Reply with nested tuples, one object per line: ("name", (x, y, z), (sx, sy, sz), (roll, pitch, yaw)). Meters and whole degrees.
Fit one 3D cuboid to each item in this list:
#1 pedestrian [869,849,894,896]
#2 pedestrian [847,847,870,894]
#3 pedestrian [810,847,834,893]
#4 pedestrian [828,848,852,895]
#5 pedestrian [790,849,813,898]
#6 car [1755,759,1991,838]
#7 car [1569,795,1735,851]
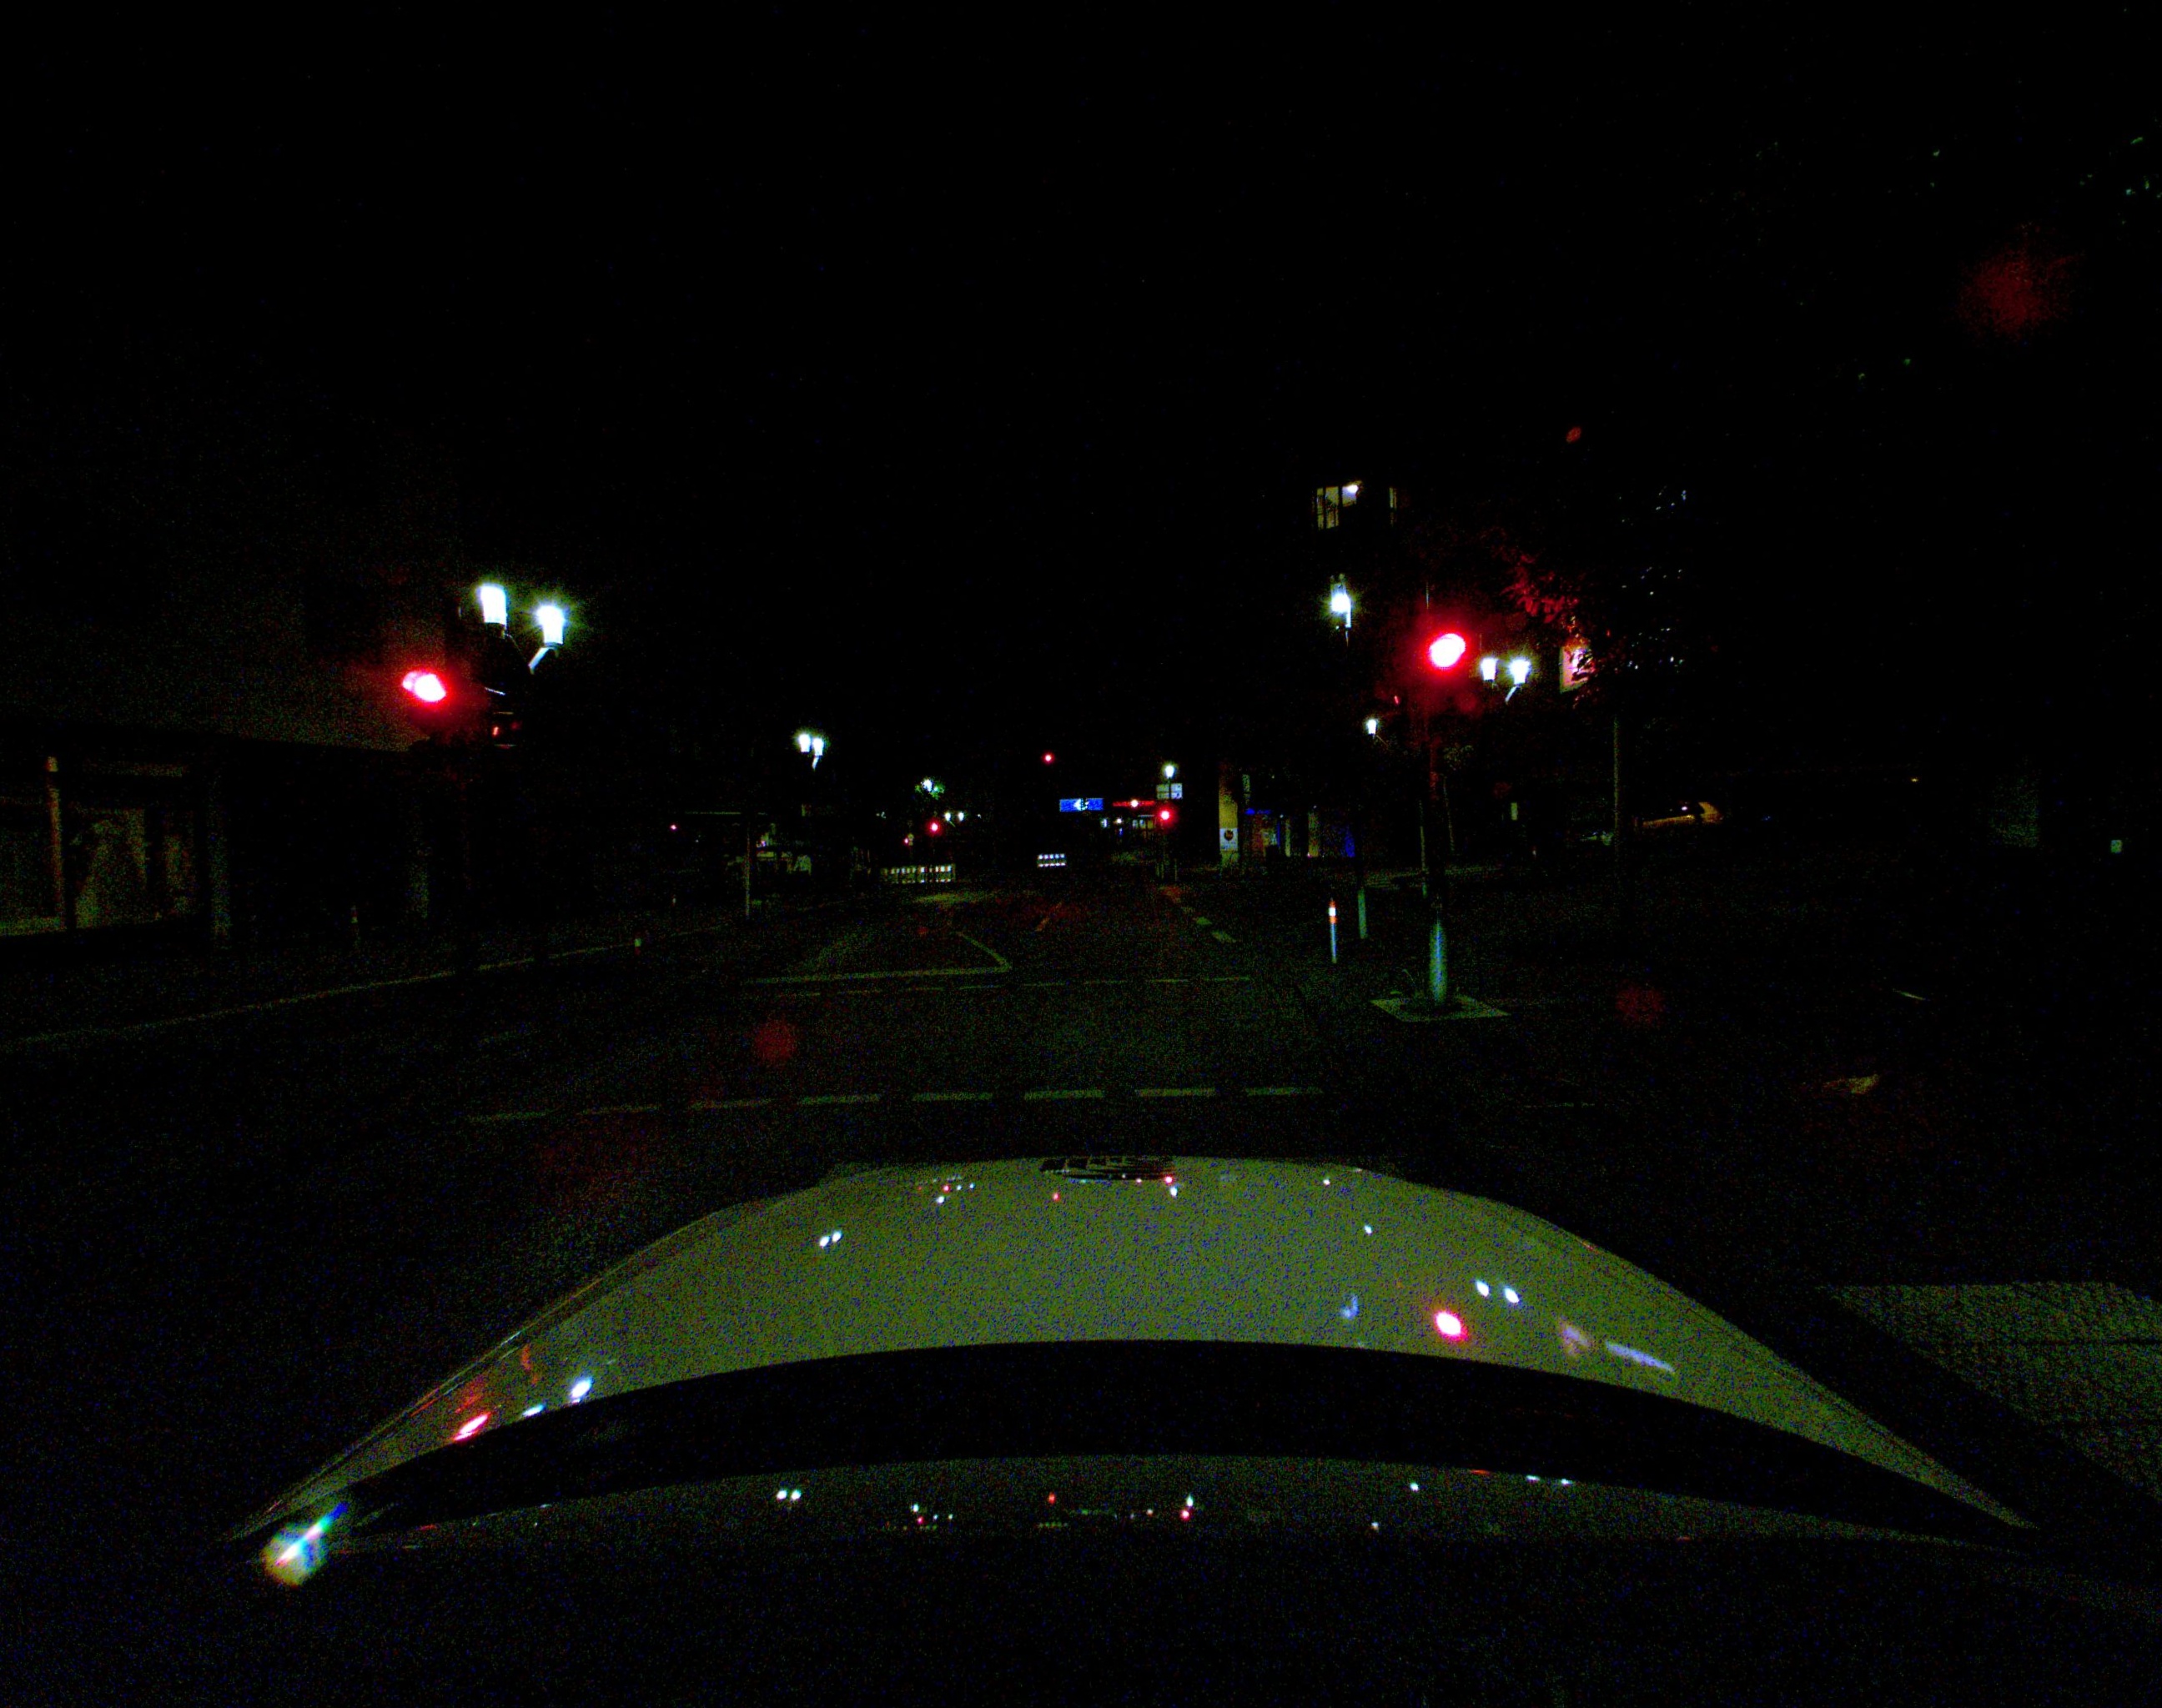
("pedestrian", (-7.786, 0.715, 31.809), (0.712, 1.795, 0.738), (-1, -2, 7))
("pedestrian", (-8.688, 0.654, 31.826), (0.712, 1.795, 0.571), (-1, -2, 8))
("pedestrian", (-10.400, 0.646, 32.693), (0.712, 1.795, 0.571), (-1, -2, 8))
("pedestrian", (-9.324, 0.661, 31.515), (0.712, 1.795, 0.571), (-1, -2, 8))
("pedestrian", (-10.302, 0.721, 30.035), (0.716, 1.795, 0.567), (0, -2, -11))
("car", (23.399, -1.552, 24.400), (4.783, 1.910, 2.172), (-2, -2, 37))
("car", (18.520, -0.988, 26.586), (4.019, 1.452, 1.830), (-4, 0, 8))
